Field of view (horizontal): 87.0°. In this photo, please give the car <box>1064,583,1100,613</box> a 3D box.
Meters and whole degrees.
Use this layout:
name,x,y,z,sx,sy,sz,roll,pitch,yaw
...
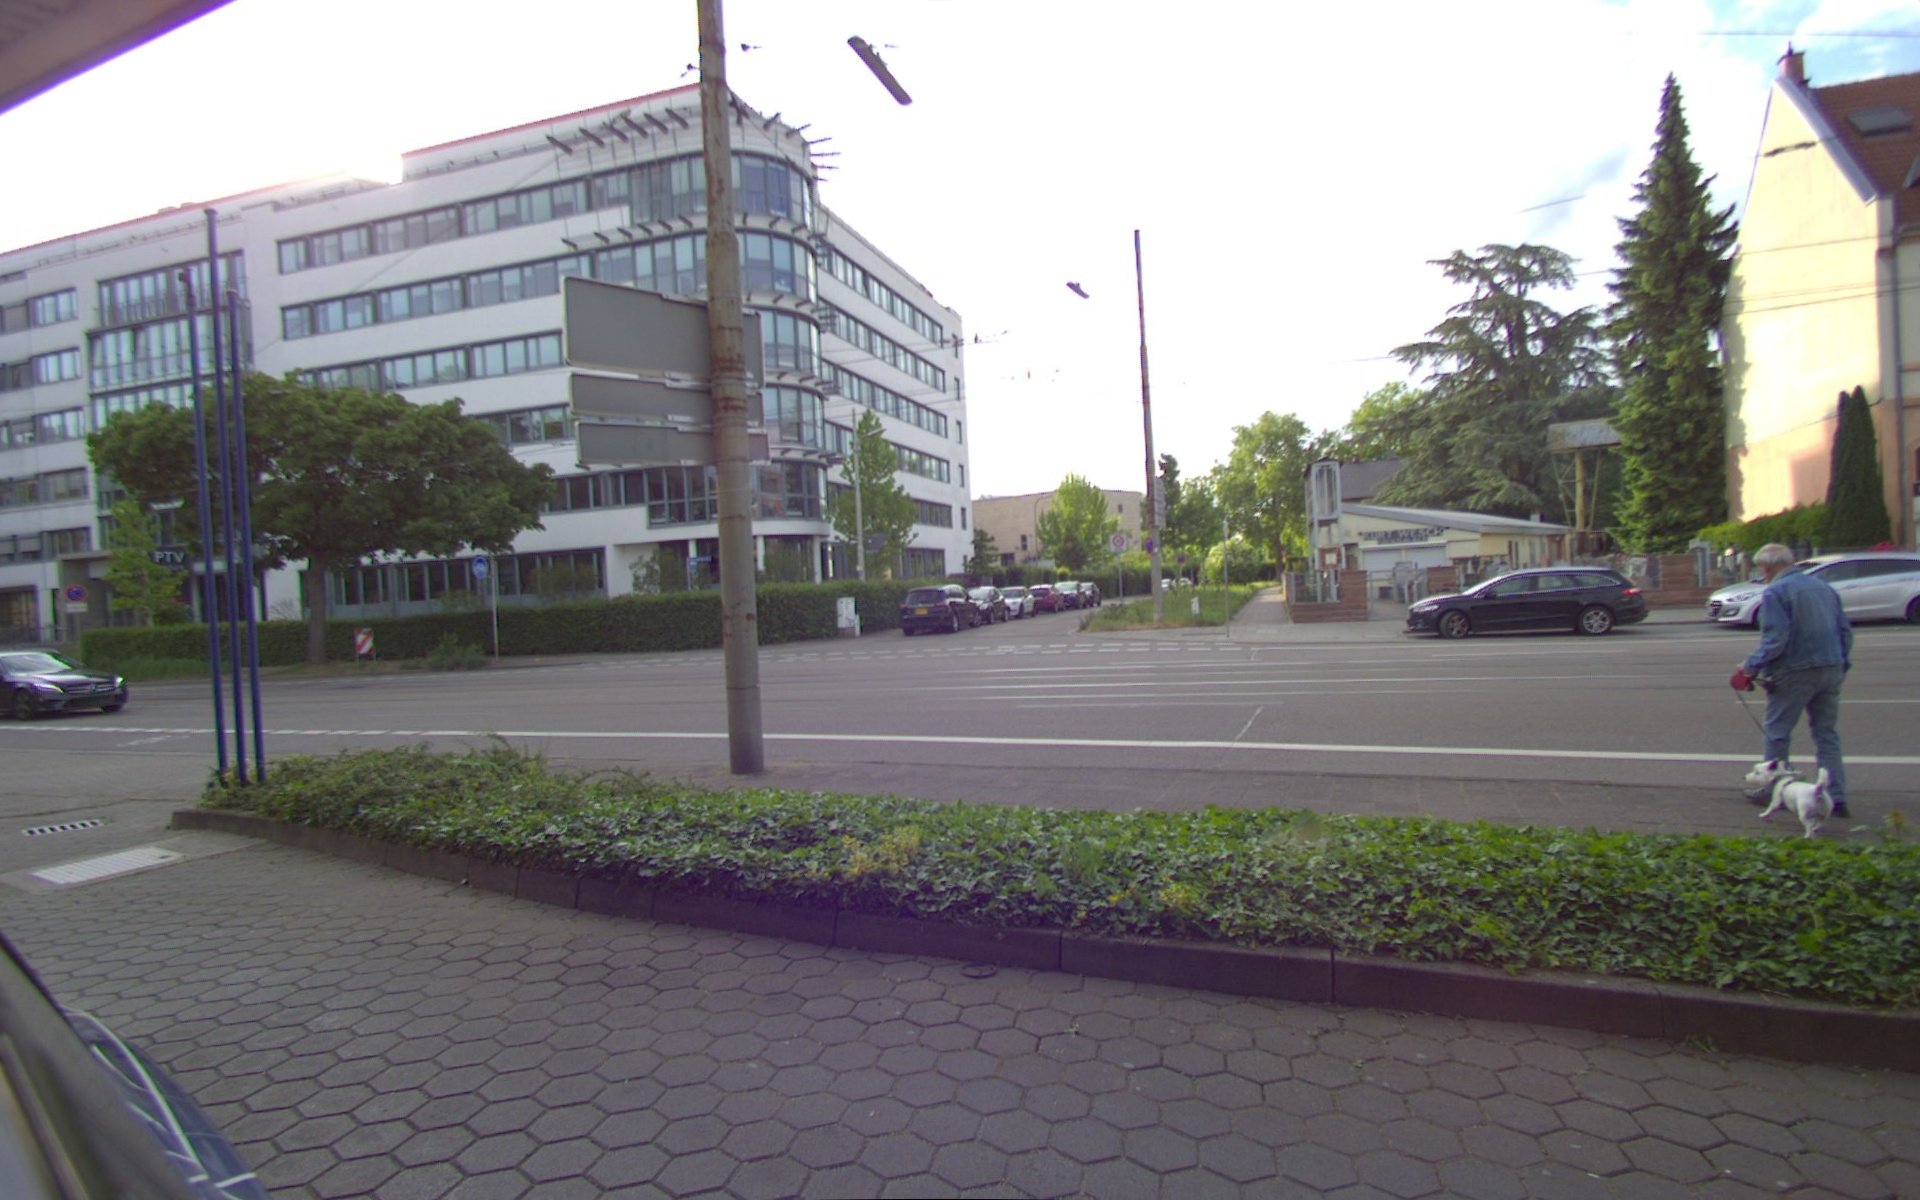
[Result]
name,x,y,z,sx,sy,sz,roll,pitch,yaw
car,8.097,-0.156,66.753,1.845,1.748,4.256,-3,0,13

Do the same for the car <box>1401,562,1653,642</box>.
name,x,y,z,sx,sy,sz,roll,pitch,yaw
car,12.920,0.053,23.441,4.742,1.511,2.001,-3,1,21

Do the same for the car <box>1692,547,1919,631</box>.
name,x,y,z,sx,sy,sz,roll,pitch,yaw
car,18.431,-0.248,21.380,4.424,1.494,1.713,-3,1,21

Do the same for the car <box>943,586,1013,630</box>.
name,x,y,z,sx,sy,sz,roll,pitch,yaw
car,0.801,0.297,40.972,1.929,1.551,4.274,-3,0,13

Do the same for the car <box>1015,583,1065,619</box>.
name,x,y,z,sx,sy,sz,roll,pitch,yaw
car,4.182,0.033,52.489,1.929,1.650,4.274,-3,0,13

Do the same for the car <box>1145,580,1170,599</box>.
name,x,y,z,sx,sy,sz,roll,pitch,yaw
car,19.702,-1.058,100.791,1.849,1.748,4.247,-3,0,19

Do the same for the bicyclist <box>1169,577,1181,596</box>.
name,x,y,z,sx,sy,sz,roll,pitch,yaw
bicyclist,19.780,-1.230,93.067,0.859,1.617,1.023,-2,3,18

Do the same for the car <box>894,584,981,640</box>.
name,x,y,z,sx,sy,sz,roll,pitch,yaw
car,-0.718,0.365,35.412,1.994,1.704,4.274,-3,1,13

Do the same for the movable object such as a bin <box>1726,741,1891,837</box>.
name,x,y,z,sx,sy,sz,roll,pitch,yaw
movable object such as a bin,4.921,1.086,5.909,0.476,0.424,0.677,-2,0,15

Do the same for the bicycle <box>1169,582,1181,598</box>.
name,x,y,z,sx,sy,sz,roll,pitch,yaw
bicycle,19.822,-0.940,93.164,0.859,1.320,1.909,-2,3,17

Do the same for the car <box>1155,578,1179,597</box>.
name,x,y,z,sx,sy,sz,roll,pitch,yaw
car,21.693,-1.307,106.160,1.849,1.748,4.246,-3,0,19

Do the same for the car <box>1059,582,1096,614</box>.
name,x,y,z,sx,sy,sz,roll,pitch,yaw
car,7.295,-0.146,62.493,1.731,1.748,4.030,-3,0,13

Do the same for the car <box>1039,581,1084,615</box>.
name,x,y,z,sx,sy,sz,roll,pitch,yaw
car,5.841,-0.138,57.719,1.929,1.748,4.512,-3,0,13

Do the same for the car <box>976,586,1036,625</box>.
name,x,y,z,sx,sy,sz,roll,pitch,yaw
car,2.149,0.222,45.783,1.929,1.530,4.274,-3,0,13

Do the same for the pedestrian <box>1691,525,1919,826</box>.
name,x,y,z,sx,sy,sz,roll,pitch,yaw
pedestrian,5.283,0.422,6.167,0.994,1.680,0.966,-2,0,15

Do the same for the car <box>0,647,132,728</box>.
name,x,y,z,sx,sy,sz,roll,pitch,yaw
car,-20.363,1.890,21.831,4.534,1.479,1.744,-3,1,19
